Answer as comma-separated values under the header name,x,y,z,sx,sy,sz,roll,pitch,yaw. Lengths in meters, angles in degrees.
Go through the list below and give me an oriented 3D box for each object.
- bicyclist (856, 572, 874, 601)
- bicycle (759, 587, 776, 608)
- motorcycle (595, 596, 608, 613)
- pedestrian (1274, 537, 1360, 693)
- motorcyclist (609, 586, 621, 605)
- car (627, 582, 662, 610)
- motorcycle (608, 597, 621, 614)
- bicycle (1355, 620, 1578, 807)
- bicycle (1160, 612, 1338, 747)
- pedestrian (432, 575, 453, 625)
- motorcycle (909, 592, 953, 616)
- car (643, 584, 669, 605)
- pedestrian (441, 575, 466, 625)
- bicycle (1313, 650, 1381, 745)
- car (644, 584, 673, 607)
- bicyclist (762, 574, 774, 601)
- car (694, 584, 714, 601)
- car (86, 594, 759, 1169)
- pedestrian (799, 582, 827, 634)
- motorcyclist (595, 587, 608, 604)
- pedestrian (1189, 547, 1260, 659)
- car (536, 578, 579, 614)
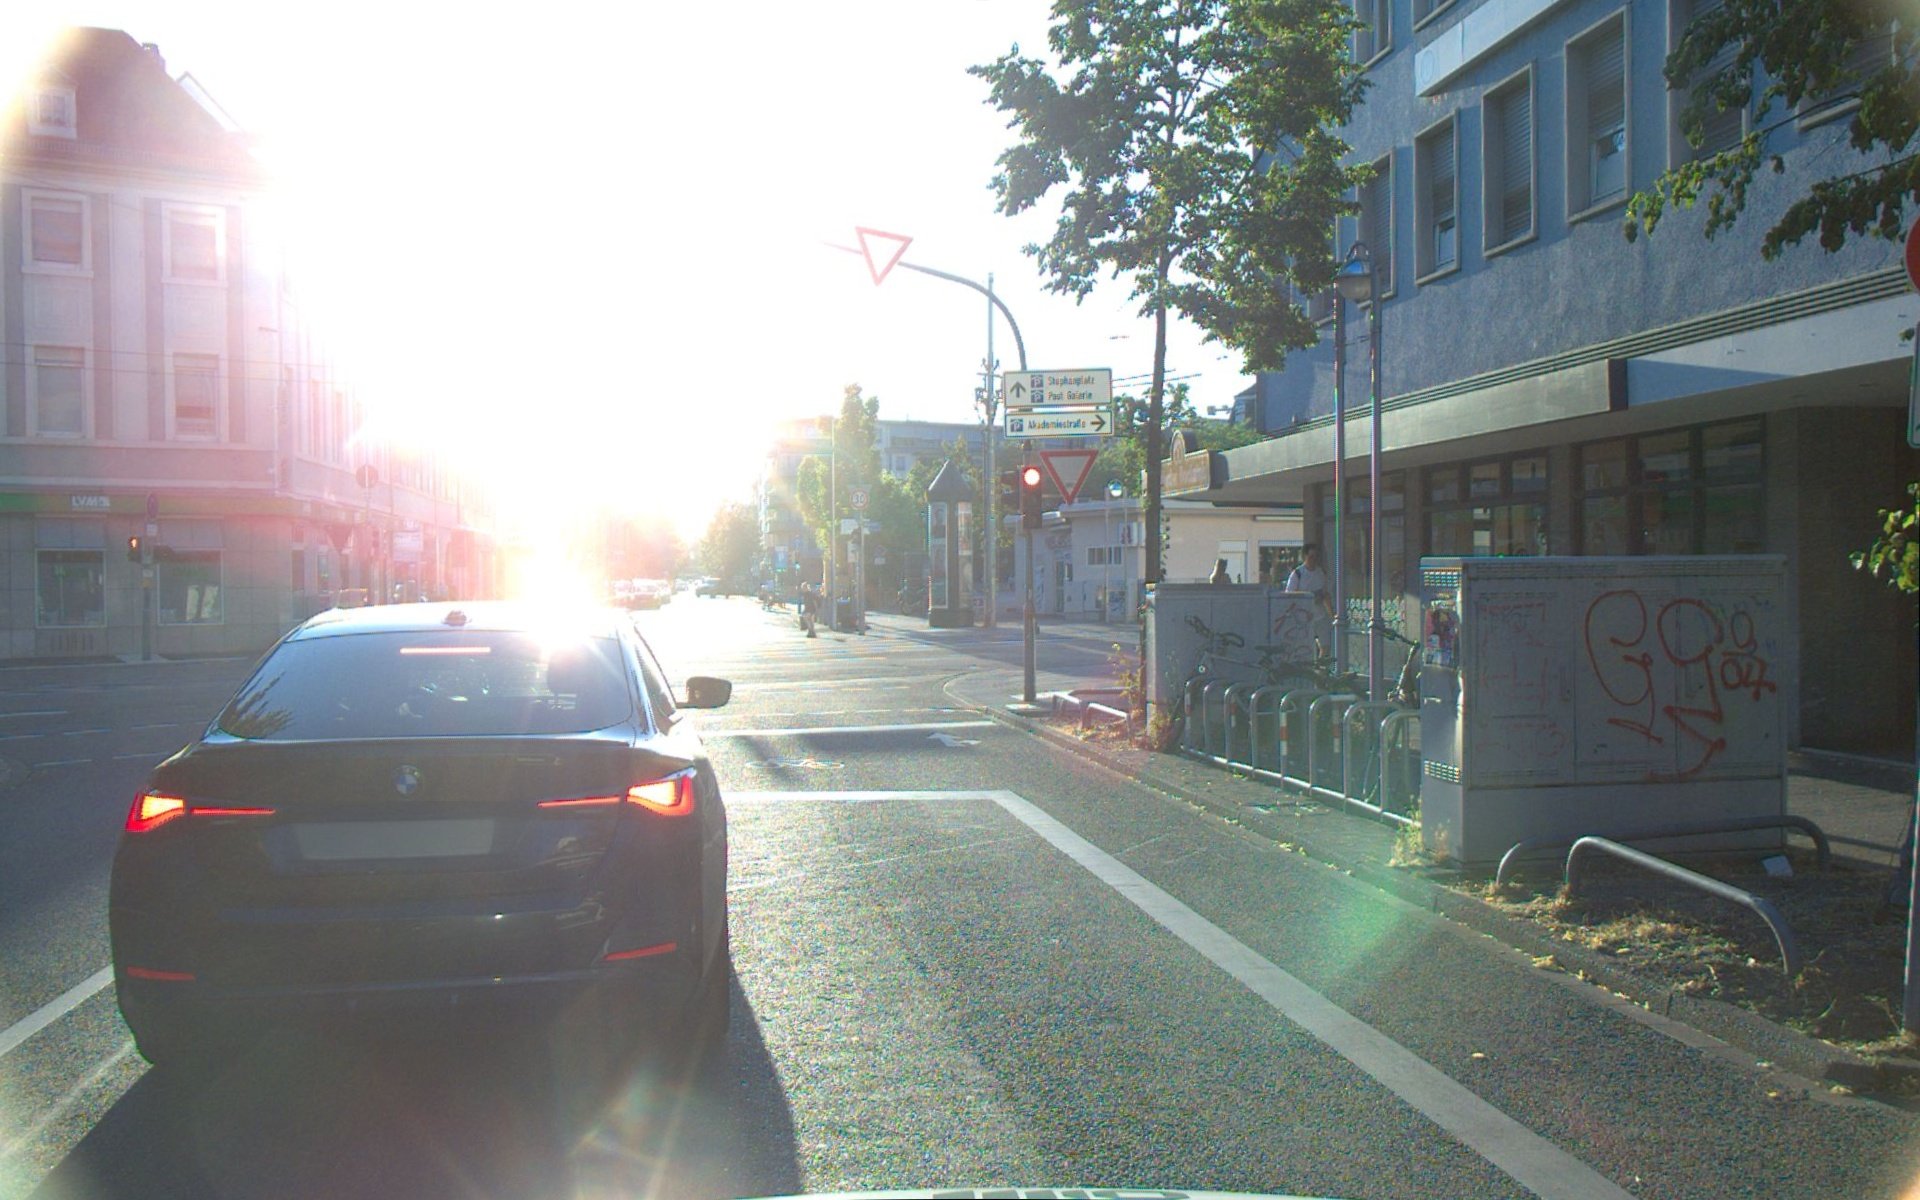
name,x,y,z,sx,sy,sz,roll,pitch,yaw
bicyclist,-5.080,-0.705,88.429,0.865,1.532,0.612,1,0,3
bicycle,-10.752,-0.128,92.353,0.541,1.179,2.134,1,0,-17
motorcycle,-20.333,0.261,93.816,0.564,0.931,2.196,1,0,-8
pedestrian,4.406,0.174,20.443,0.820,1.874,0.677,-1,0,-9
motorcyclist,-19.402,-0.261,93.007,0.564,1.013,0.701,1,0,-9
car,-17.897,-0.244,93.937,1.784,1.545,3.992,-1,1,-9
motorcycle,-19.435,0.279,93.150,0.564,0.931,2.196,1,0,-8
bicycle,3.459,0.771,11.307,1.413,1.241,0.383,1,0,-8
bicycle,2.653,0.718,15.192,1.582,1.191,0.318,-1,0,-7
pedestrian,-19.870,0.008,63.503,0.631,1.909,0.630,1,0,-9
motorcycle,-1.195,0.156,67.835,1.644,0.955,0.851,-1,1,-20
car,-22.580,-0.418,122.997,1.784,1.545,3.992,-1,1,-9
pedestrian,-19.684,0.007,64.287,0.664,1.909,0.616,1,0,30
bicycle,3.589,0.889,15.395,0.244,0.810,1.114,1,0,-6
car,-20.552,-0.327,112.899,1.784,1.545,3.992,-1,1,-9
bicyclist,-10.730,-0.706,92.303,0.541,1.507,0.719,1,0,-17
car,-24.108,-0.714,155.810,1.784,1.545,3.992,-1,1,-9
car,-1.745,0.716,6.461,1.705,1.453,4.214,0,0,-10
pedestrian,-4.412,0.237,49.620,0.723,1.555,0.469,1,0,-26
motorcyclist,-20.304,-0.279,93.685,0.564,0.931,2.196,1,0,-8
pedestrian,4.665,0.050,29.178,0.990,1.892,0.634,-4,2,-29
car,-21.095,-0.214,86.786,1.784,1.819,3.992,-1,1,-9
